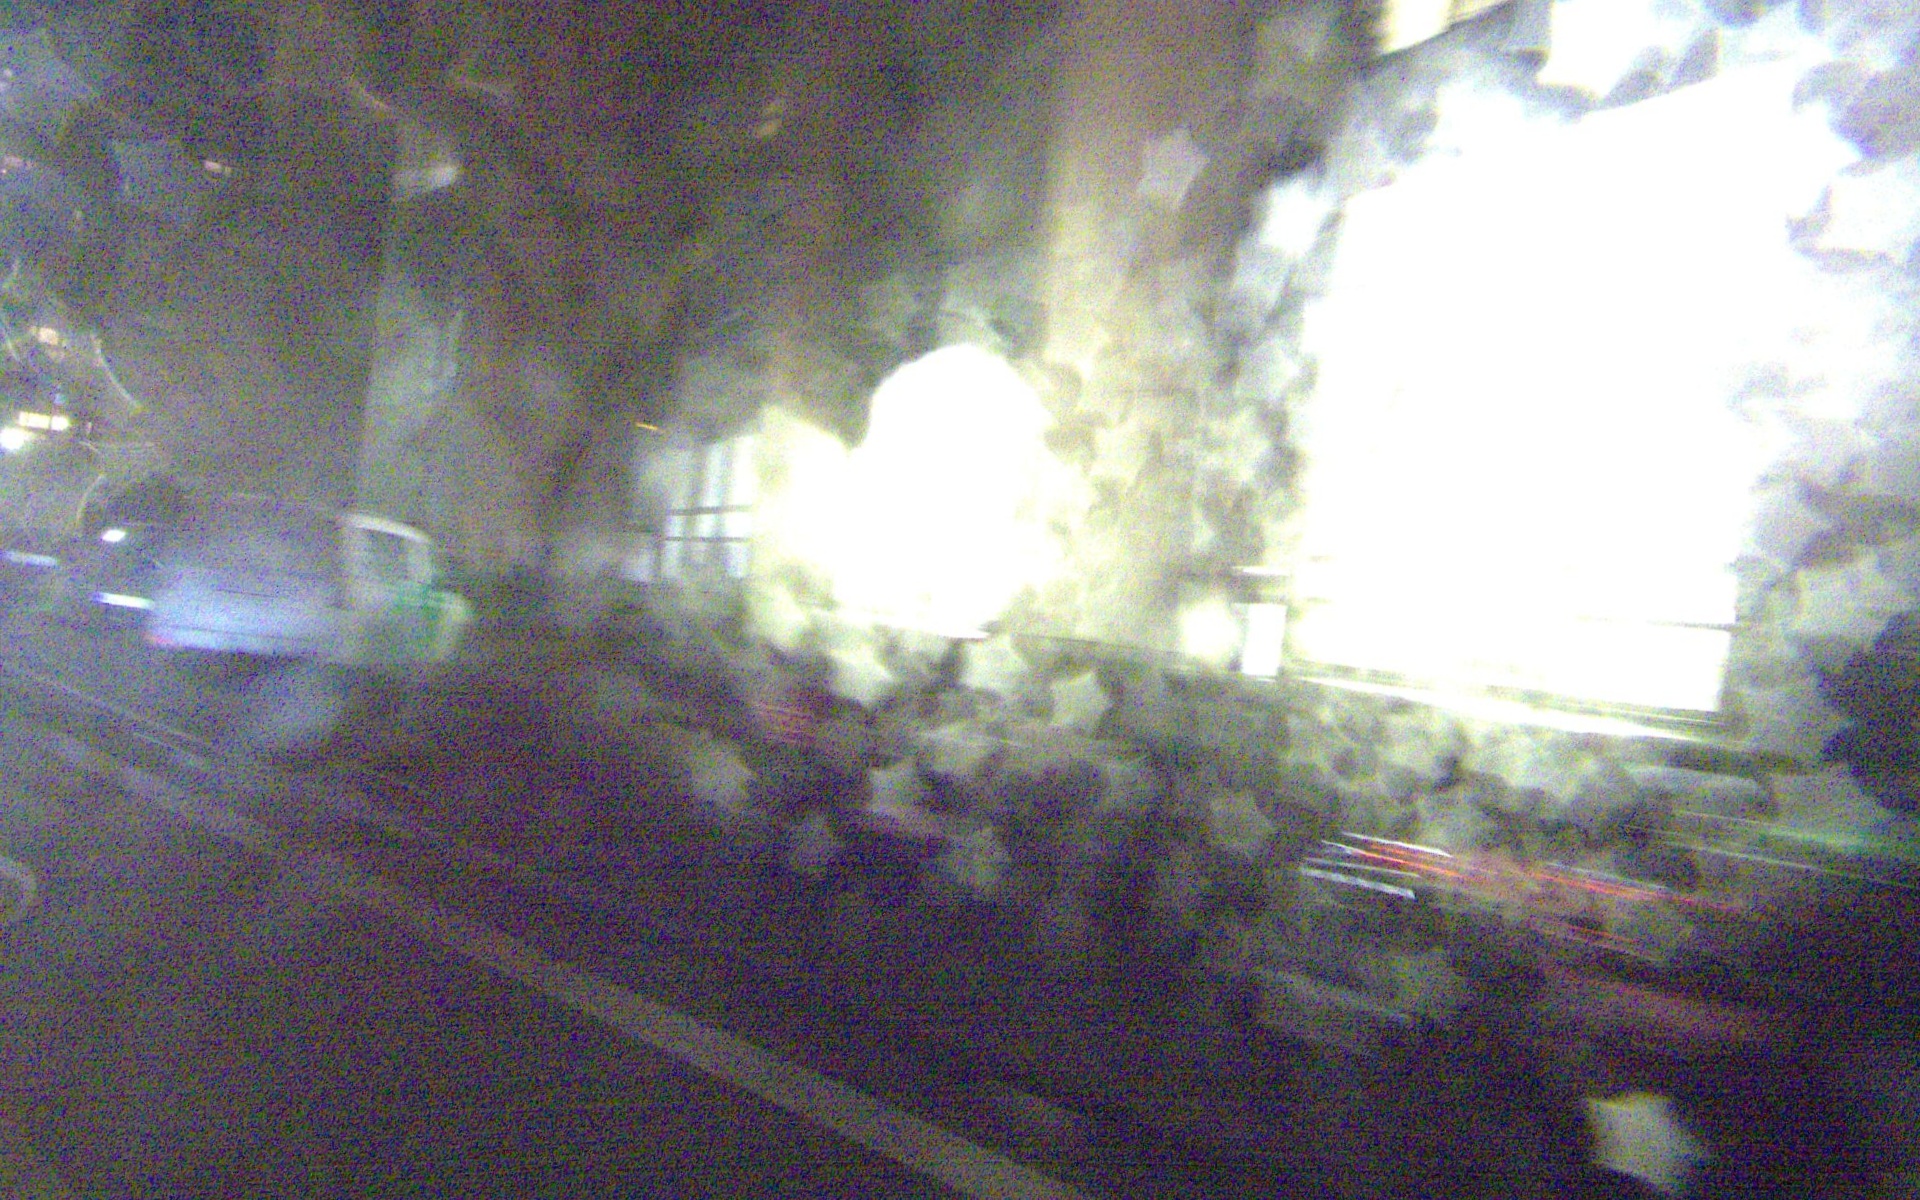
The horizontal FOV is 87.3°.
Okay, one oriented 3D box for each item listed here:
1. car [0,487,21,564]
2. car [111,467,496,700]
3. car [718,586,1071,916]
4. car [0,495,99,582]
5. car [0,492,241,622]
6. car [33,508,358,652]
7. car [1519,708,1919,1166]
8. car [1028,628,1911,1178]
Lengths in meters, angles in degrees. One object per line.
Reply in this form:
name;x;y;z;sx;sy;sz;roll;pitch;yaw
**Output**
car;-20.060;-1.647;18.739;1.791;1.551;3.883;8;-2;-10
car;-6.963;-0.102;11.328;1.931;1.859;4.169;9;-2;-10
car;-0.725;0.784;6.786;1.575;1.455;3.827;8;-2;-13
car;-17.692;-1.218;17.994;1.793;1.449;3.847;8;-2;-14
car;-12.158;-0.639;14.310;1.667;1.421;4.439;8;0;-17
car;-9.540;-0.184;12.921;1.602;1.401;3.337;8;-2;-4
car;4.368;1.426;3.852;1.741;1.474;3.785;8;-2;-11
car;1.921;1.091;5.174;1.780;1.506;3.843;7;-1;-16
